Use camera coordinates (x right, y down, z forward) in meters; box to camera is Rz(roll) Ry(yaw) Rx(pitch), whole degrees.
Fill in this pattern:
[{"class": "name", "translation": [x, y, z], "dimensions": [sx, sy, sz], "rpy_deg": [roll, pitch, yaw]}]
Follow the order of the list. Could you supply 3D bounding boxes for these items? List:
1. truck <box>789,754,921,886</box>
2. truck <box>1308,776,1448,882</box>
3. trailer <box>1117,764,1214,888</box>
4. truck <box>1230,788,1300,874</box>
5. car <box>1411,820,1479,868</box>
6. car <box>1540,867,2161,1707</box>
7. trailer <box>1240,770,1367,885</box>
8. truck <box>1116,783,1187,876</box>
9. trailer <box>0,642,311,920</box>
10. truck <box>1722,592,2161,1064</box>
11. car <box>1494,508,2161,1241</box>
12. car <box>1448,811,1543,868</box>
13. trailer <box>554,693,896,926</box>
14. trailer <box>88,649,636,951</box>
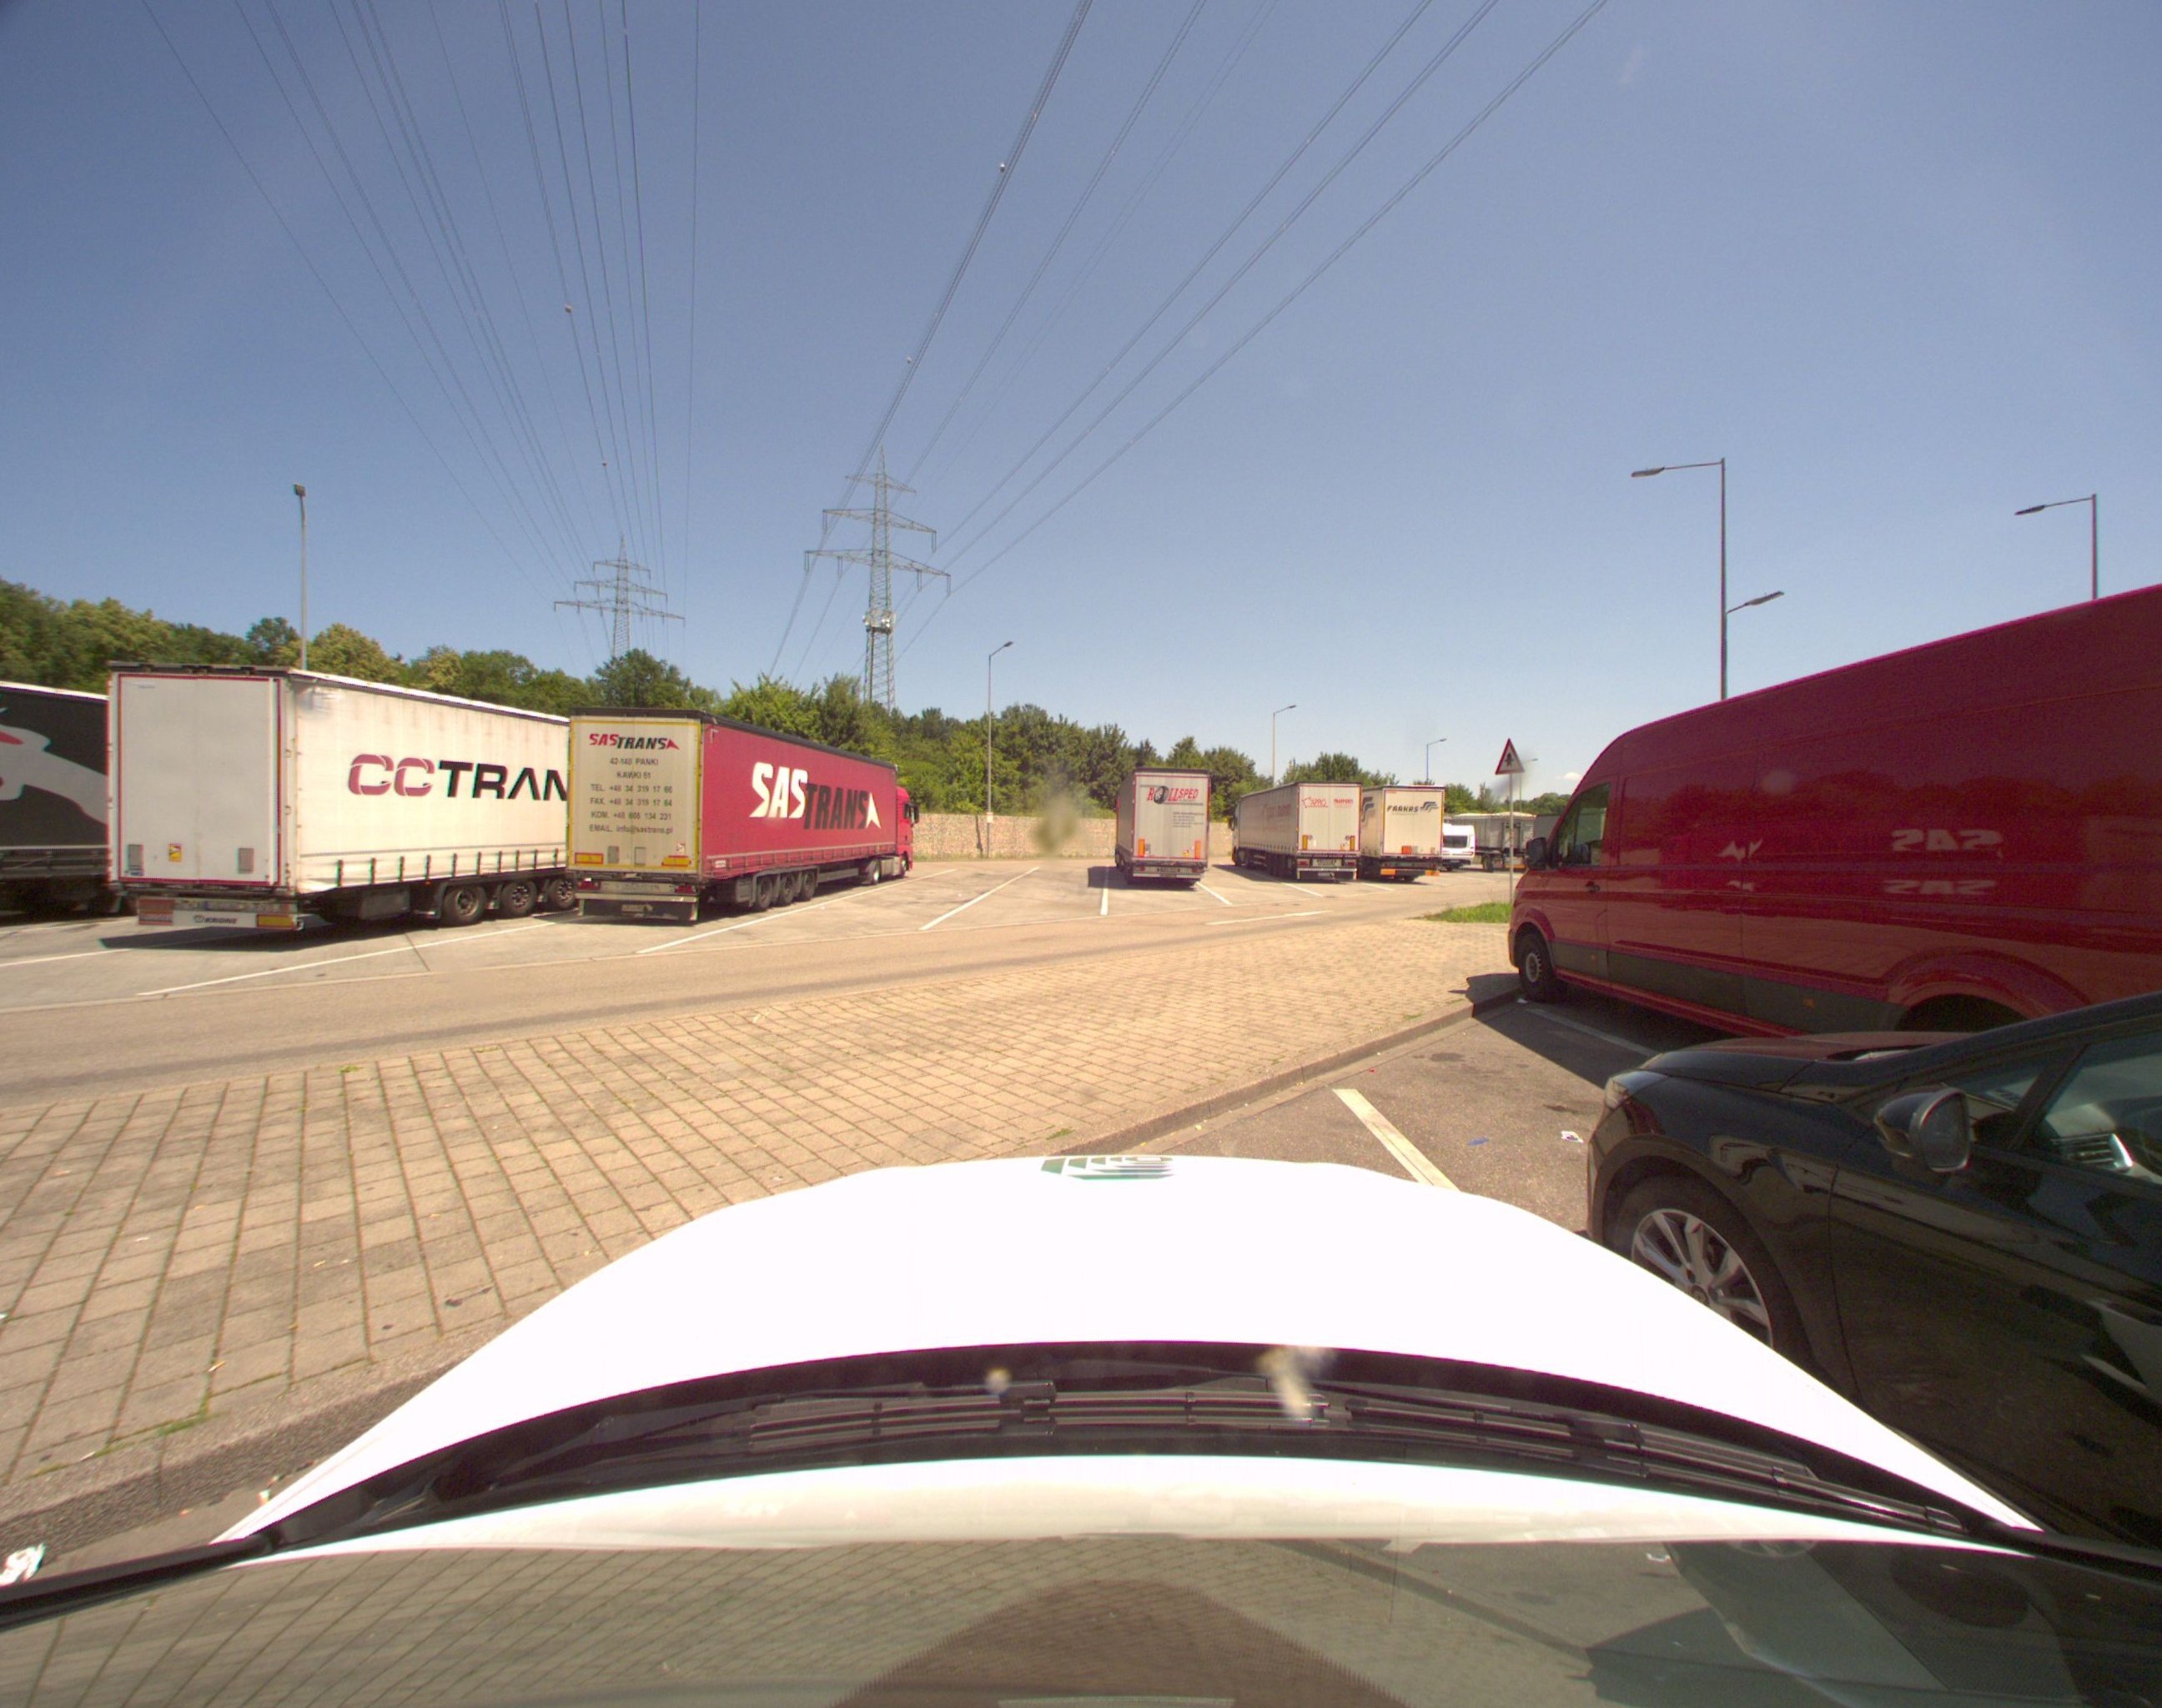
[{"class": "truck", "translation": [-7.742, -1.119, 28.717], "dimensions": [2.795, 4.133, 5.896], "rpy_deg": [-1, 1, 2]}, {"class": "truck", "translation": [13.539, -0.943, 38.528], "dimensions": [2.577, 4.226, 11.974], "rpy_deg": [0, -1, 2]}, {"class": "trailer", "translation": [3.023, -1.006, 32.264], "dimensions": [2.887, 4.013, 11.320], "rpy_deg": [-1, 1, 1]}, {"class": "truck", "translation": [10.085, -1.235, 45.203], "dimensions": [2.651, 4.452, 5.866], "rpy_deg": [-1, 1, 2]}, {"class": "car", "translation": [20.546, -0.521, 46.135], "dimensions": [2.107, 2.599, 4.001], "rpy_deg": [0, -1, 2]}, {"class": "car", "translation": [2.544, 0.763, 0.949], "dimensions": [1.773, 1.457, 3.680], "rpy_deg": [0, -1, -4]}, {"class": "trailer", "translation": [9.910, -1.115, 38.092], "dimensions": [2.672, 4.452, 12.833], "rpy_deg": [-1, 1, 1]}, {"class": "truck", "translation": [3.141, -1.093, 37.855], "dimensions": [2.861, 3.980, 6.030], "rpy_deg": [-1, 1, 1]}, {"class": "trailer", "translation": [-18.552, -1.178, 15.007], "dimensions": [2.668, 4.444, 6.151], "rpy_deg": [-1, 1, 2]}, {"class": "truck", "translation": [7.801, -0.153, 6.018], "dimensions": [2.508, 2.827, 4.821], "rpy_deg": [0, -1, 3]}, {"class": "car", "translation": [5.128, 0.030, 5.499], "dimensions": [1.984, 2.633, 6.393], "rpy_deg": [-1, 1, 5]}, {"class": "car", "translation": [24.144, -0.825, 47.757], "dimensions": [2.490, 3.074, 6.353], "rpy_deg": [-1, 1, 2]}, {"class": "trailer", "translation": [-7.992, -0.897, 21.460], "dimensions": [2.789, 4.219, 13.208], "rpy_deg": [-1, 1, 2]}, {"class": "trailer", "translation": [-12.179, -0.809, 15.367], "dimensions": [2.744, 4.152, 8.291], "rpy_deg": [0, 1, 2]}]
